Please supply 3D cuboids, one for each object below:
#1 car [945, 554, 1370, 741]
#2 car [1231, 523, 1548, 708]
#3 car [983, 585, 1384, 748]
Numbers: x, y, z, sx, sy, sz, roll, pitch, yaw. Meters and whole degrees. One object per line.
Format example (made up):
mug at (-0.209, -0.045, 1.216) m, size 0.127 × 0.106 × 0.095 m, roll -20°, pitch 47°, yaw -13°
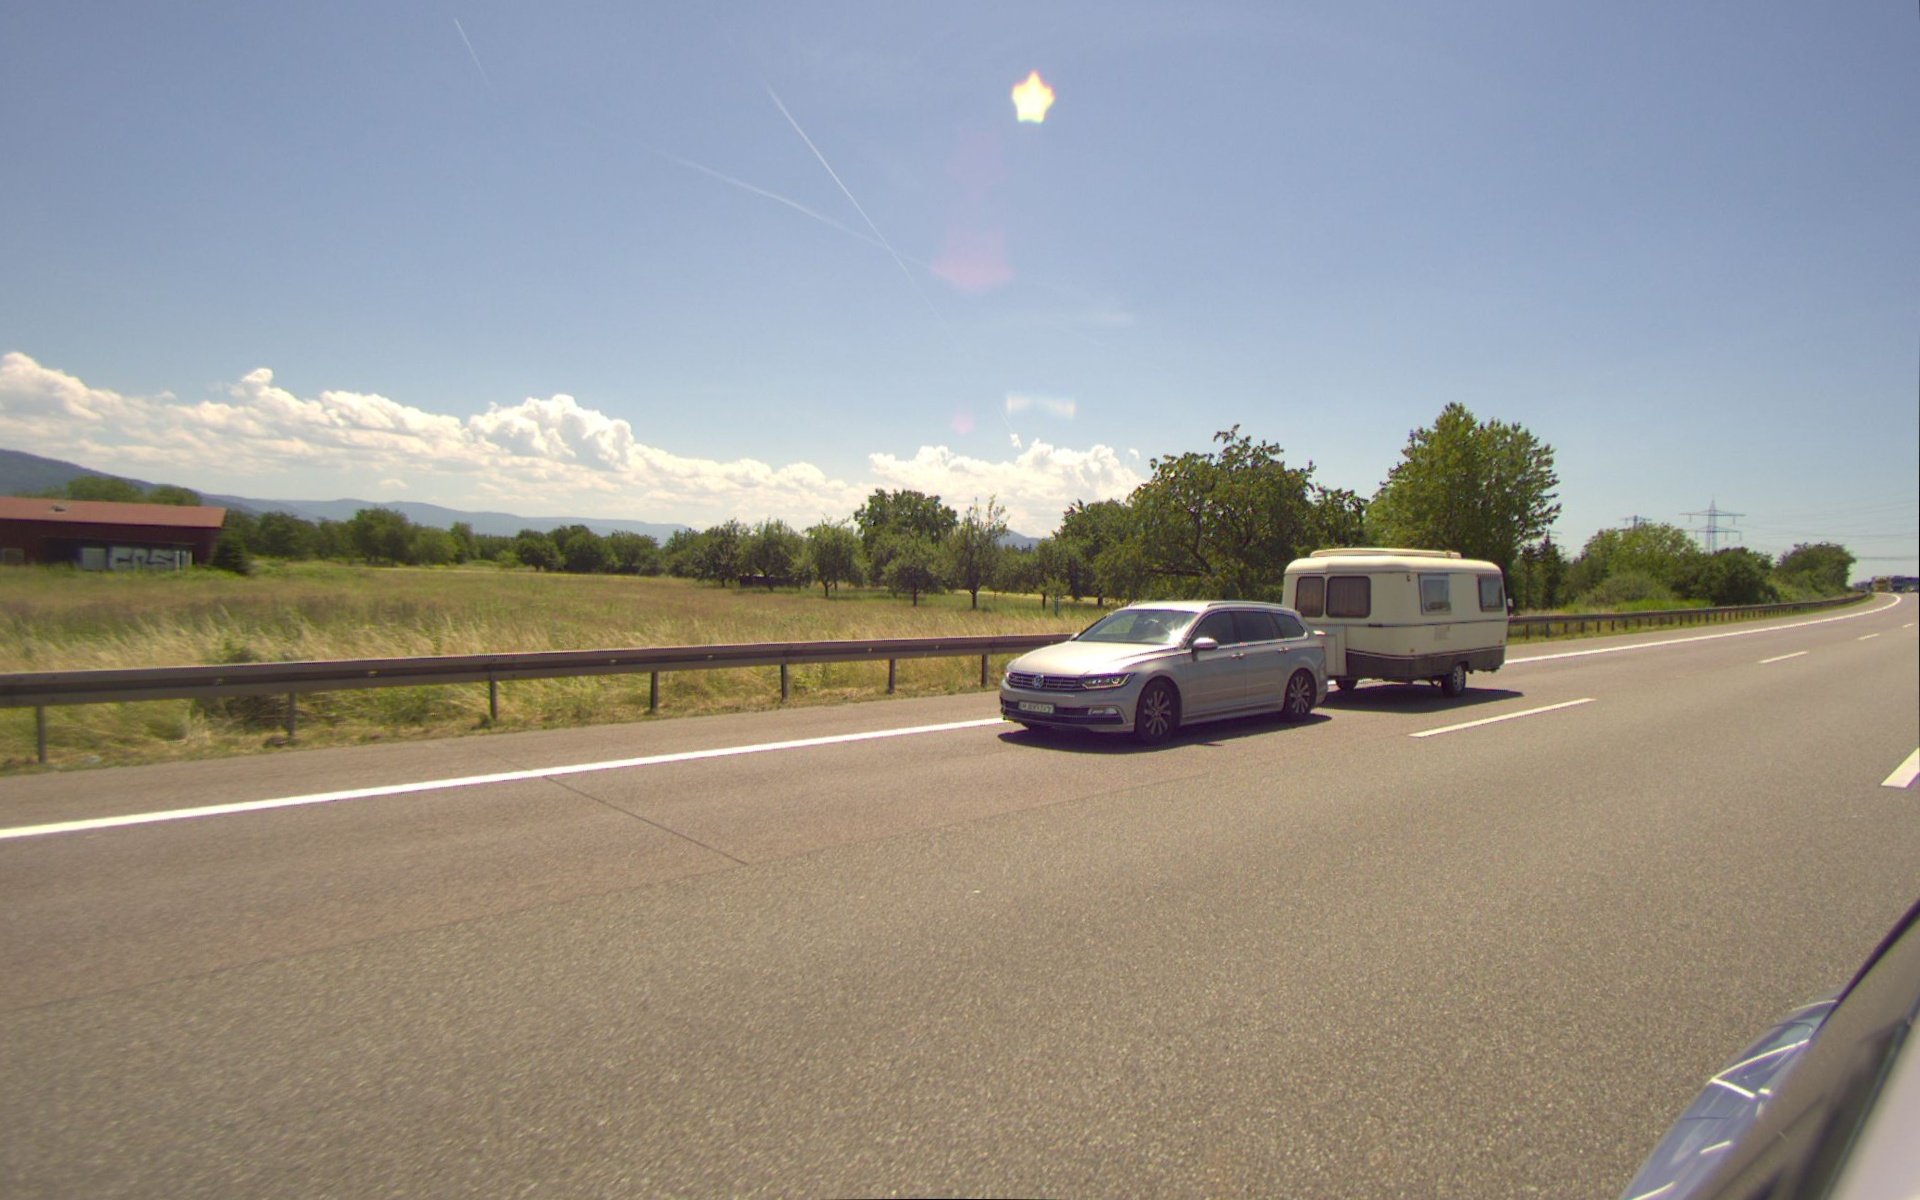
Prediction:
car at (2.513, 0.433, 11.666) m, size 5.417 × 1.679 × 2.047 m, roll 1°, pitch 1°, yaw -44°
car at (6.735, 0.196, 15.568) m, size 5.229 × 2.350 × 2.447 m, roll 1°, pitch 1°, yaw -42°
car at (2.846, 0.623, 11.989) m, size 5.286 × 1.535 × 1.890 m, roll 0°, pitch 0°, yaw -41°
